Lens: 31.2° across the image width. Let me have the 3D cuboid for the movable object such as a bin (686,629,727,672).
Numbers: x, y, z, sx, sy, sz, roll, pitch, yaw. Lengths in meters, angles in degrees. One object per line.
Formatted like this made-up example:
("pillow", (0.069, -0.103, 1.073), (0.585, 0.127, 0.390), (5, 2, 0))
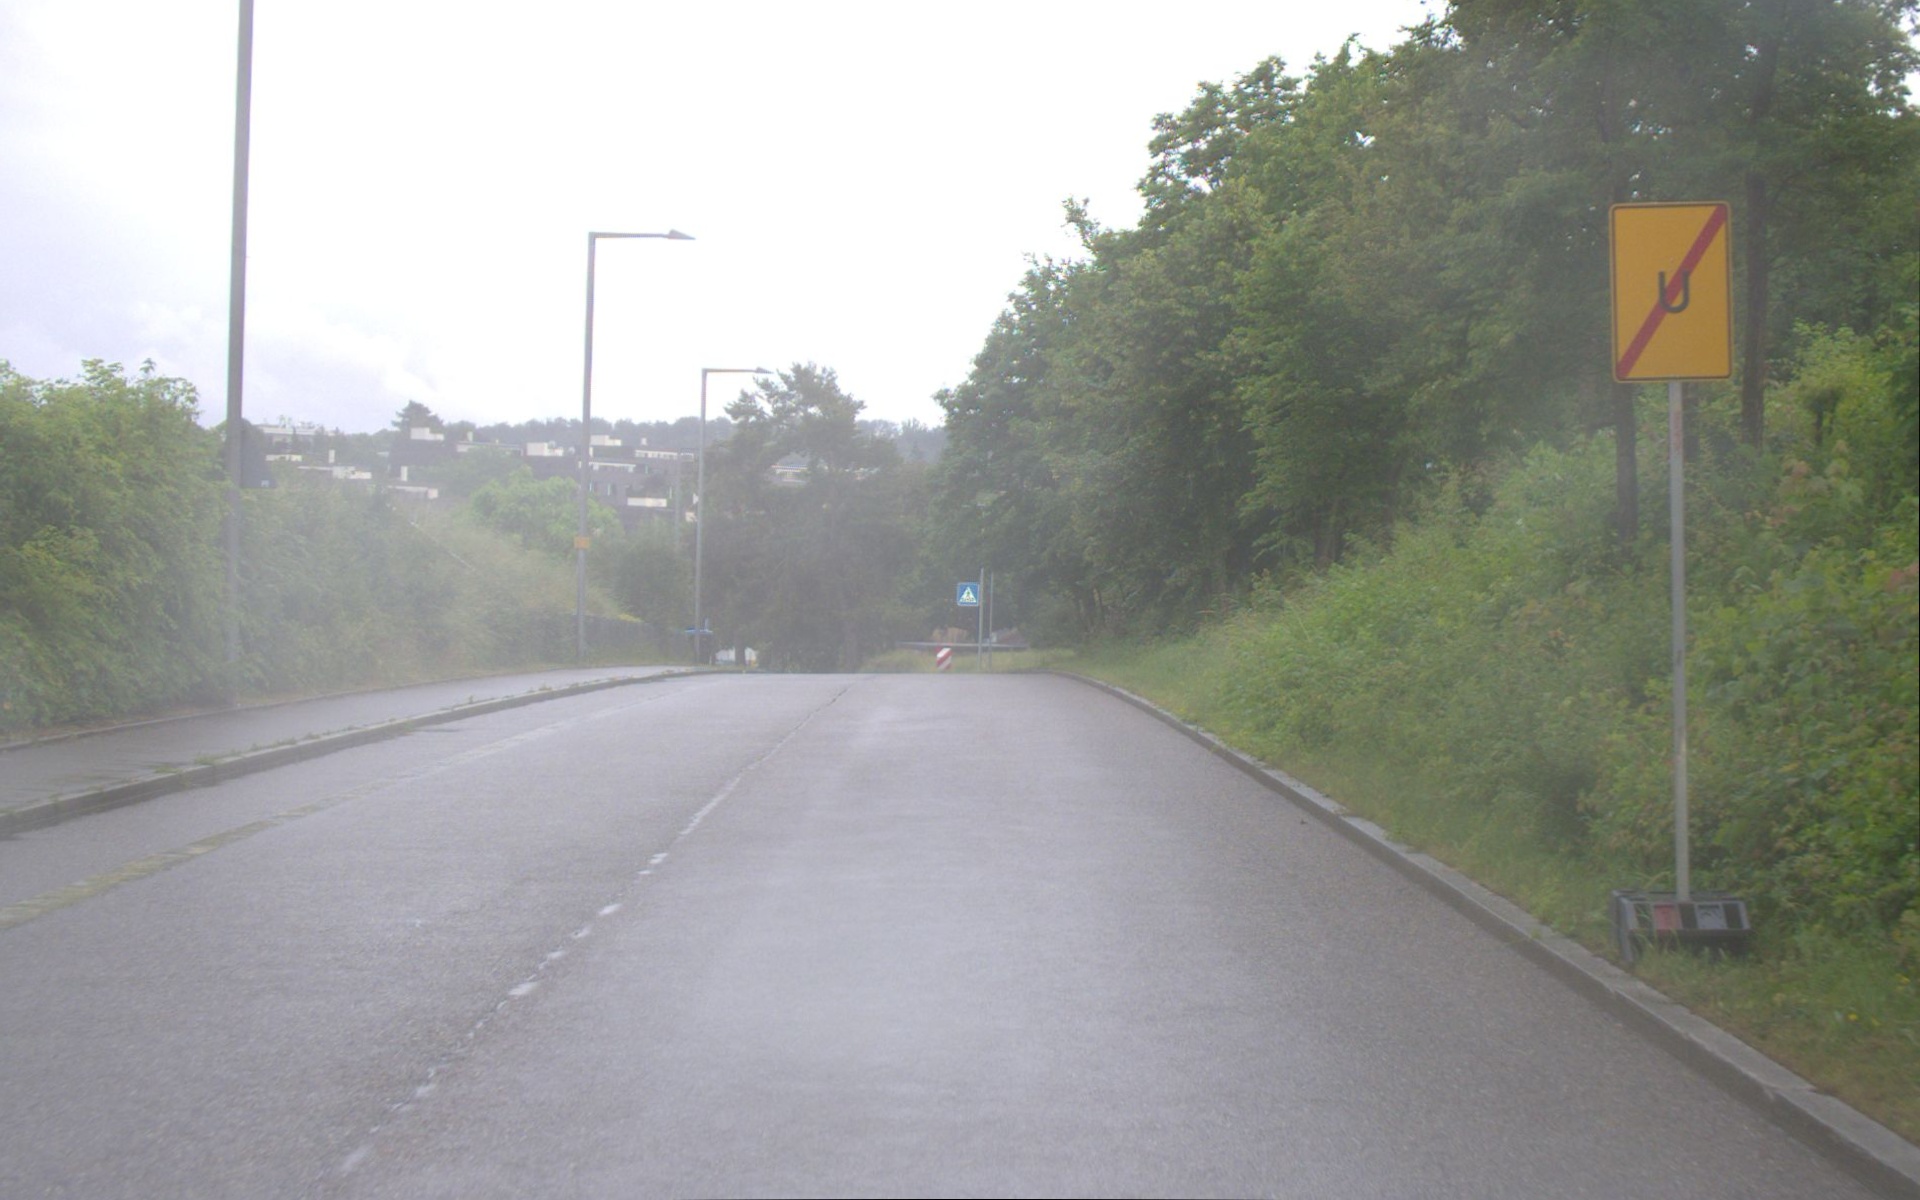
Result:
("movable object such as a bin", (-8.387, 1.682, 113.594), (1.131, 1.335, 1.399), (4, -2, -10))
